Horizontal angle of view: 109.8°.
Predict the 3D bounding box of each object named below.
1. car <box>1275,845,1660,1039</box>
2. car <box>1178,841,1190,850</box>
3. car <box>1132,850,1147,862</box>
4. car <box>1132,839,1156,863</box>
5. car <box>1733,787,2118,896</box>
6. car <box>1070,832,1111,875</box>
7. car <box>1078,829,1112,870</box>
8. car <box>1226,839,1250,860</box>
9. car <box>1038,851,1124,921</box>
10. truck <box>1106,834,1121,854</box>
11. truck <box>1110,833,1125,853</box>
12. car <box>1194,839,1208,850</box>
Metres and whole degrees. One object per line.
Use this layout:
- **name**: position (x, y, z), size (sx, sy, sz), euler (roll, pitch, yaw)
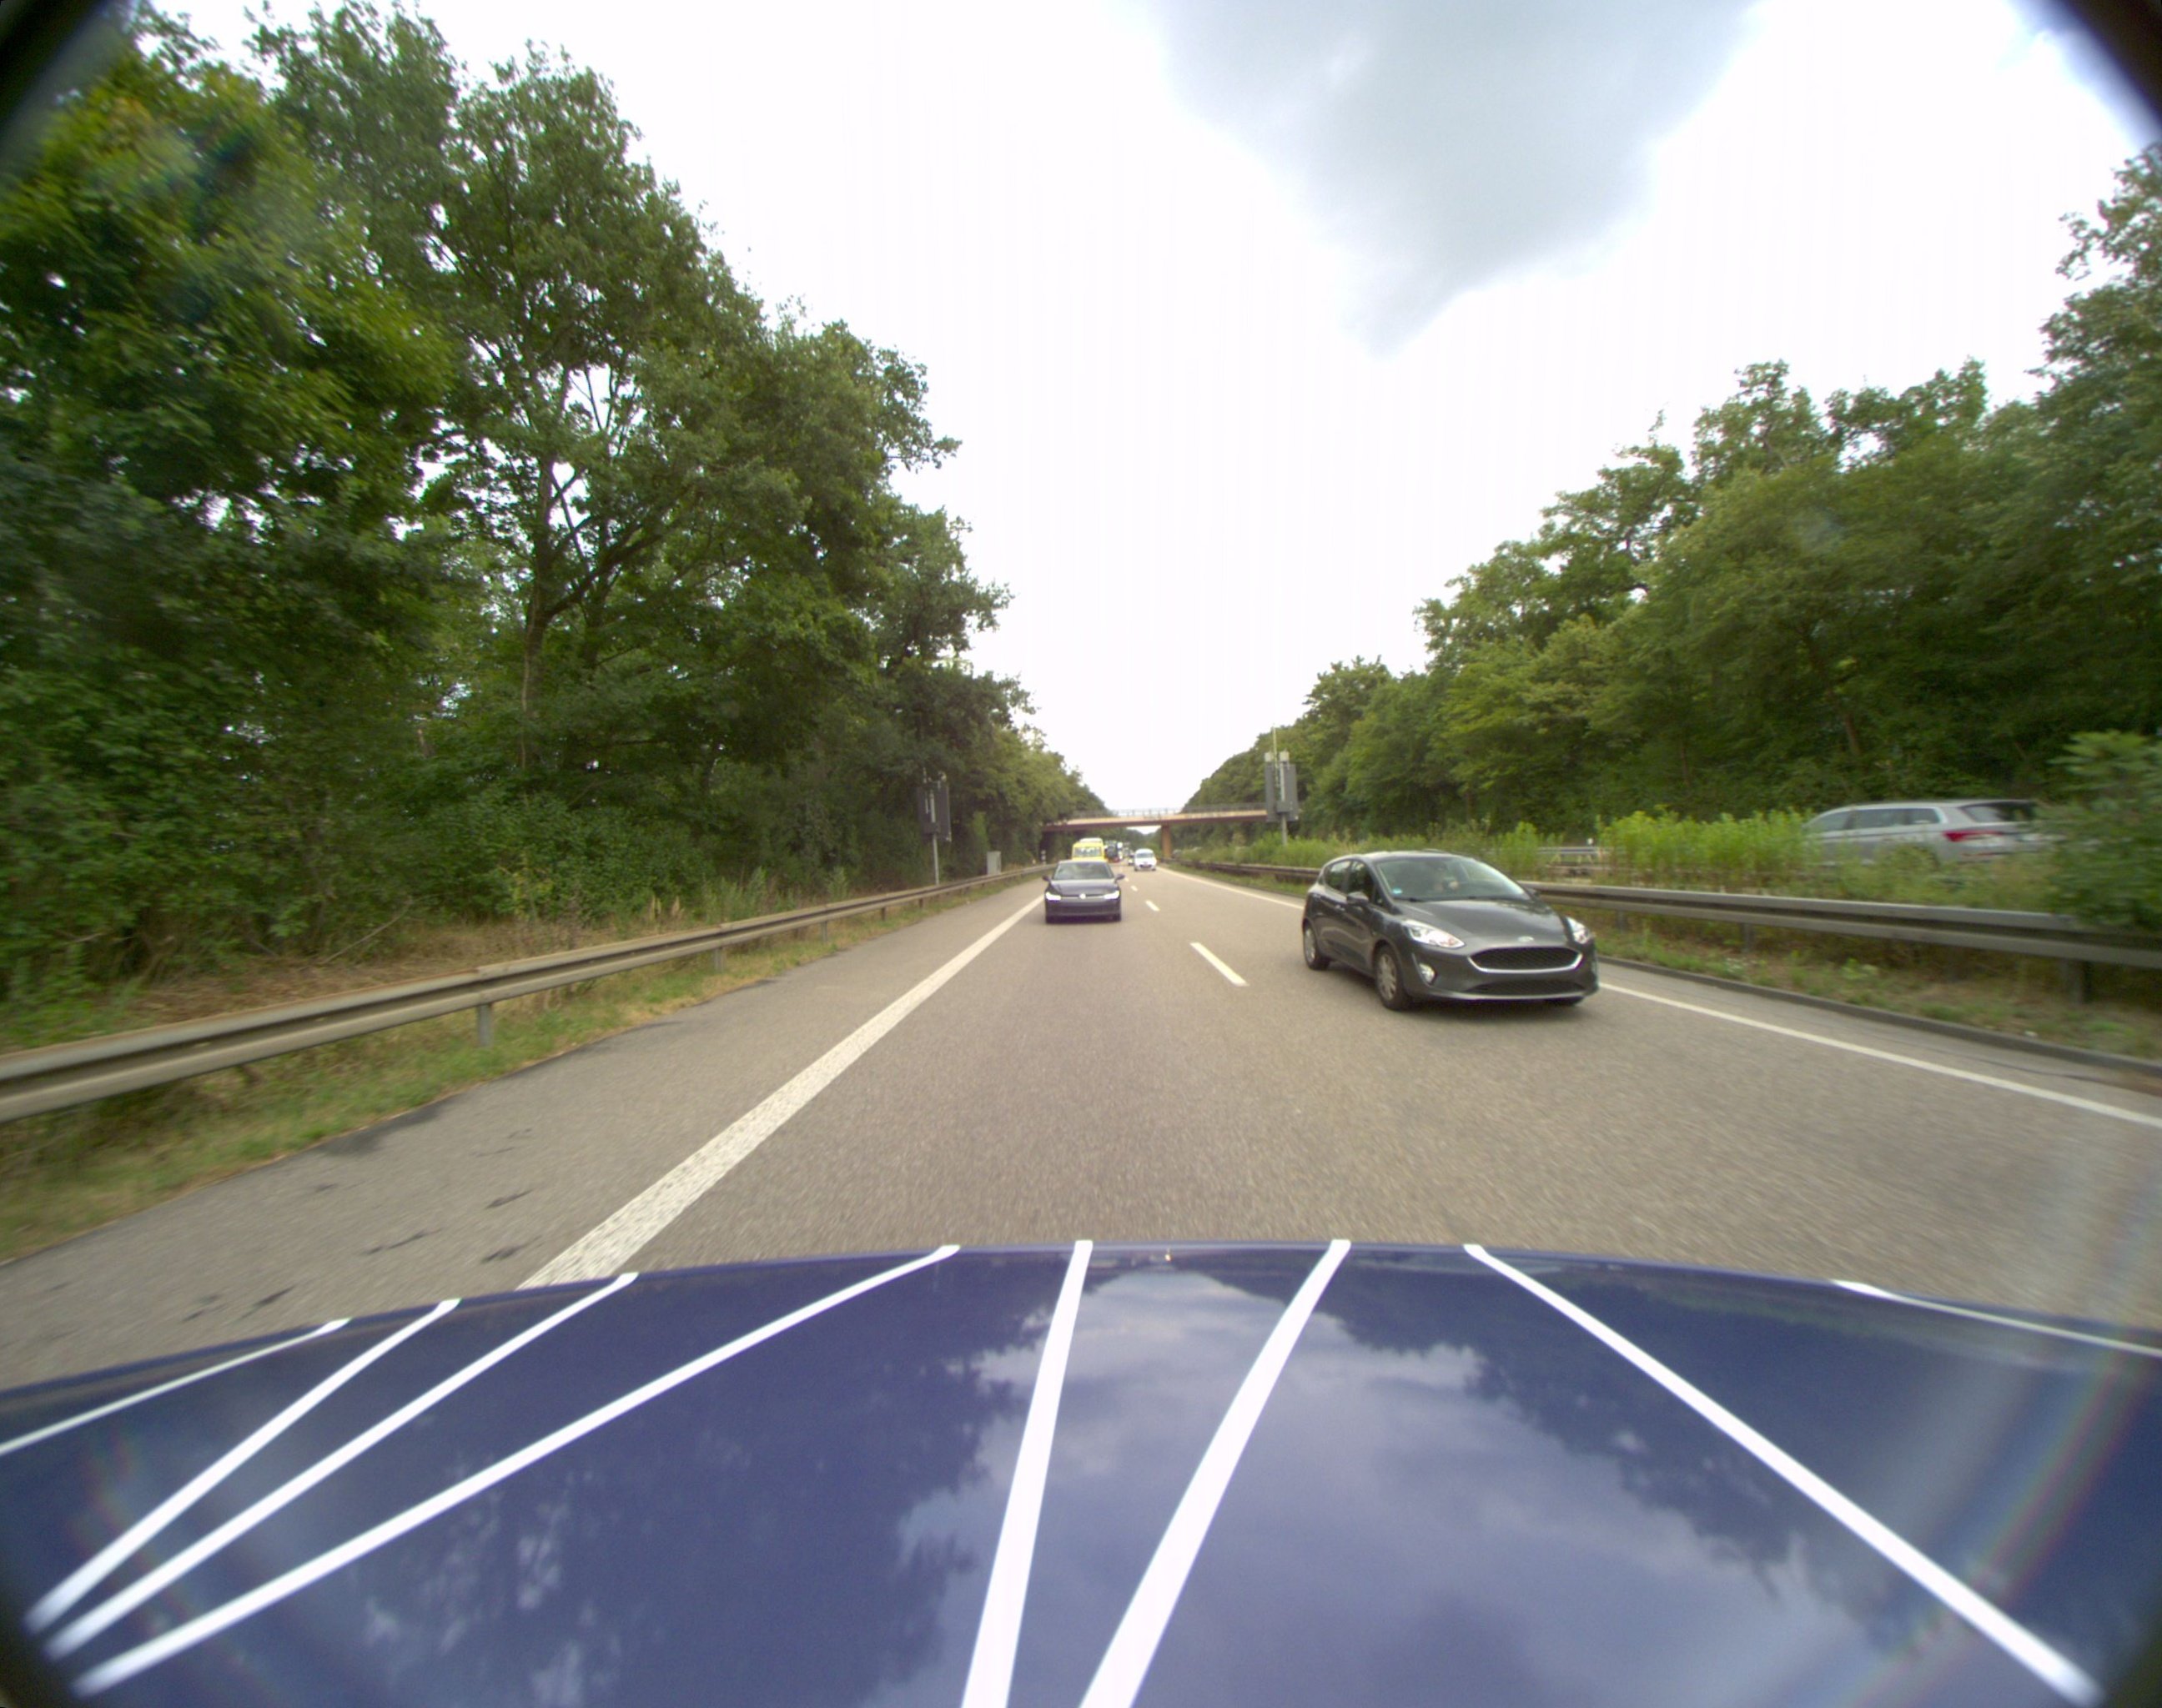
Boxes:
- **car**: position (3.606, 0.659, 8.236), size (1.831, 1.449, 4.639), euler (-2, 1, 0)
- **car**: position (19.695, -1.613, 145.403), size (1.807, 1.581, 4.181), euler (-2, 1, 2)
- **car**: position (7.452, 0.223, 97.035), size (1.772, 1.416, 4.198), euler (-2, 1, 3)
- **car**: position (5.442, -0.305, 65.939), size (1.821, 1.993, 4.423), euler (-2, 1, 3)
- **car**: position (15.322, -0.230, 14.331), size (1.998, 1.648, 4.772), euler (-2, 1, 1)
- **car**: position (0.577, -0.057, 45.446), size (2.248, 2.334, 5.223), euler (-2, 1, 1)
- **car**: position (0.955, -0.338, 54.033), size (2.207, 2.732, 6.166), euler (-2, 1, 1)
- **car**: position (13.373, -0.395, 64.841), size (1.519, 1.737, 3.056), euler (-2, 1, 2)
- **car**: position (0.091, 0.680, 18.659), size (1.800, 1.398, 4.639), euler (-2, 1, 2)
- **truck**: position (5.792, -1.790, 136.053), size (2.548, 3.565, 6.457), euler (-2, 1, 3)
- **truck**: position (8.595, -2.509, 178.669), size (3.099, 4.463, 12.209), euler (-2, 1, 3)
- **car**: position (22.270, -1.823, 141.016), size (1.800, 2.002, 5.302), euler (-2, 1, 2)
